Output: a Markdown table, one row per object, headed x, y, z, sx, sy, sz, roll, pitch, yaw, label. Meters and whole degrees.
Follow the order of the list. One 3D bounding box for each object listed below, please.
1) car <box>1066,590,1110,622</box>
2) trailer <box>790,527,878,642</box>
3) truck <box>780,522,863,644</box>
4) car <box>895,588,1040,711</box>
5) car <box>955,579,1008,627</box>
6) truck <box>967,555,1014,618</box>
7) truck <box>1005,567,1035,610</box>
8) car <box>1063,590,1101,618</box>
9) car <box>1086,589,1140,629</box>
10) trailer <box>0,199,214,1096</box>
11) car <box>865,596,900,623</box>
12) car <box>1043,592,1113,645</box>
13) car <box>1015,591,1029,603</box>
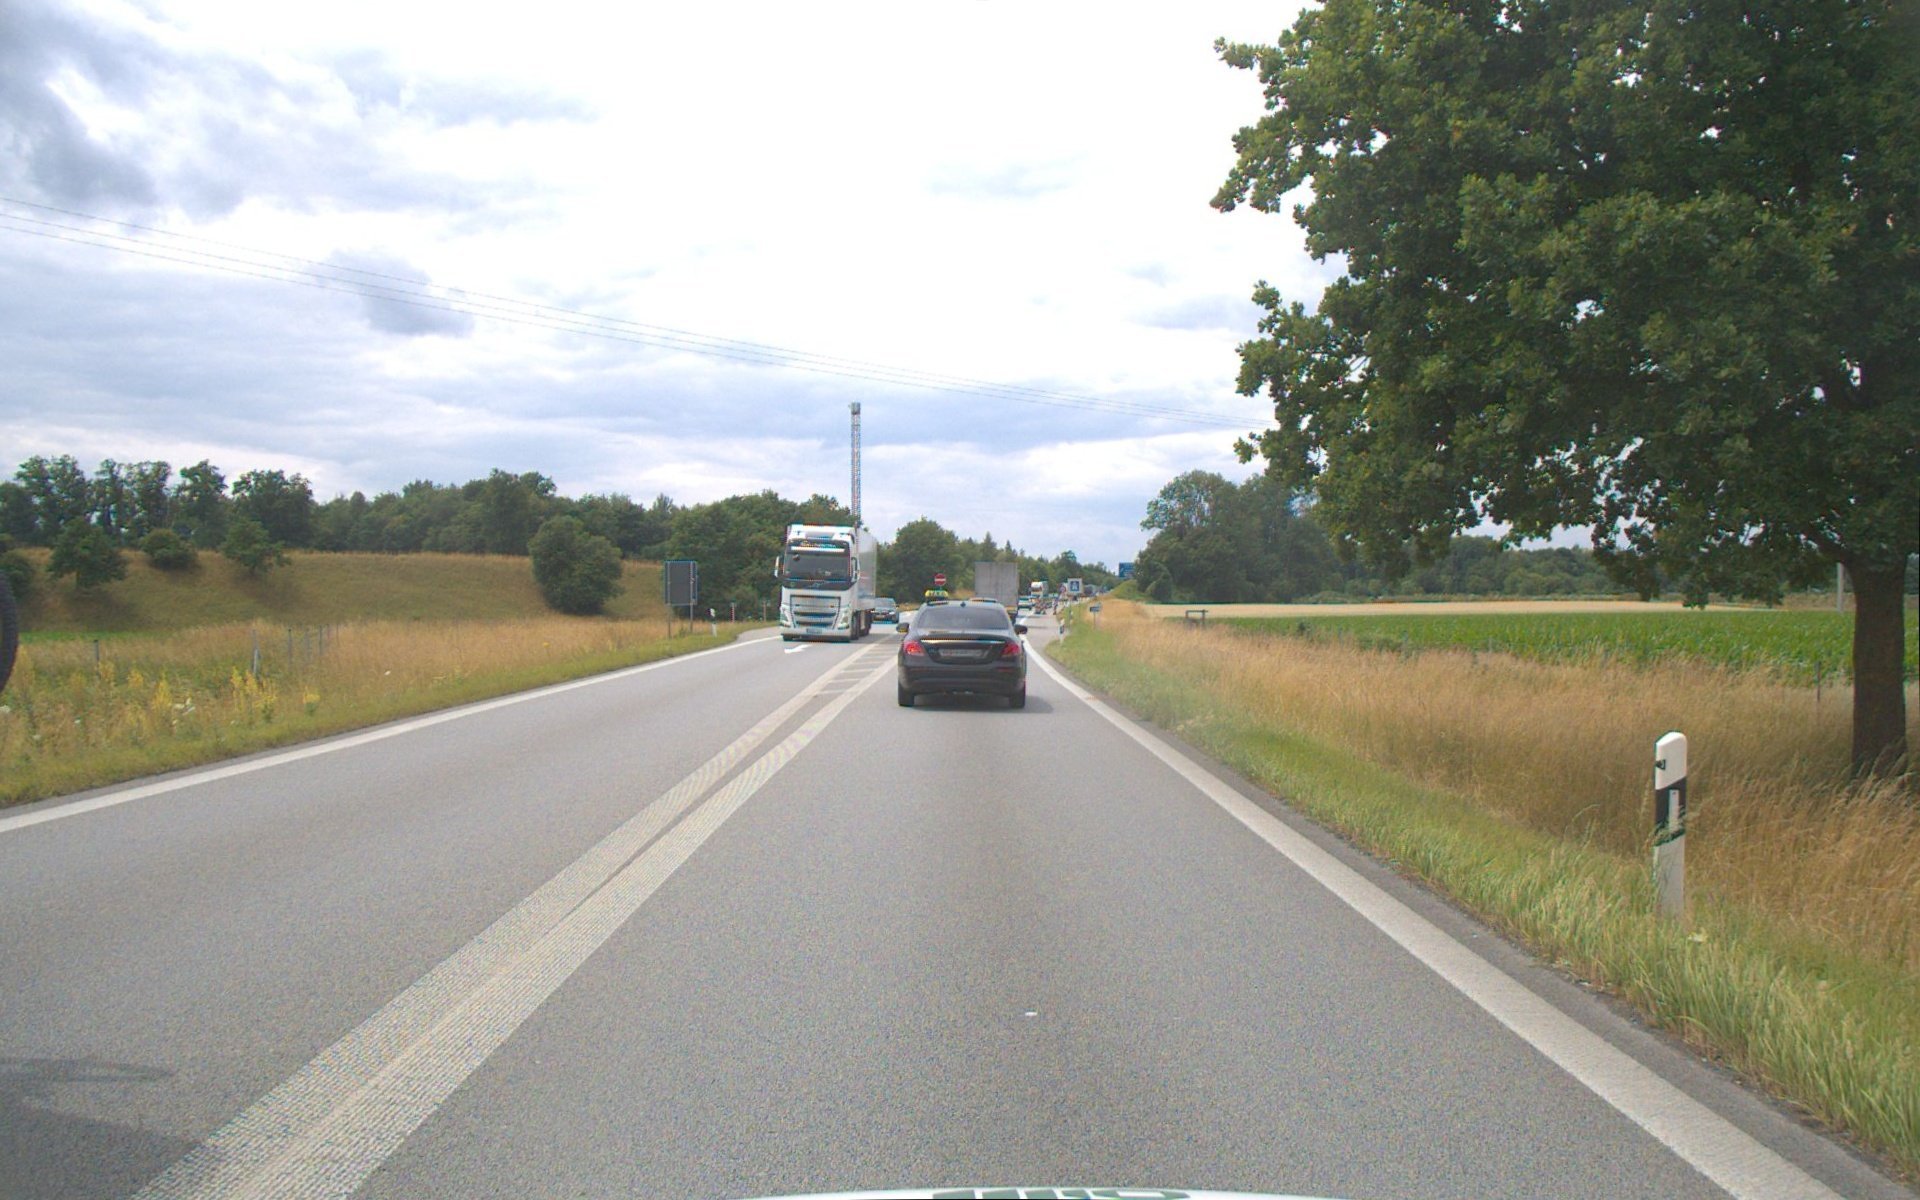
| x | y | z | sx | sy | sz | roll | pitch | yaw | label |
| --- | --- | --- | --- | --- | --- | --- | --- | --- | --- |
| 7.001 | 0.337 | 90.670 | 1.760 | 1.691 | 3.996 | 2 | 0 | -4 | car |
| -4.788 | -0.609 | 65.147 | 2.438 | 4.065 | 13.076 | 1 | 0 | 0 | trailer |
| -4.790 | -0.585 | 58.119 | 2.438 | 4.065 | 5.204 | 1 | 0 | 0 | truck |
| 0.023 | 0.666 | 24.043 | 1.760 | 1.587 | 3.996 | 2 | 0 | -4 | car |
| 0.934 | 0.135 | 73.742 | 1.954 | 2.049 | 3.996 | 2 | 0 | -4 | car |
| 1.862 | -0.773 | 98.539 | 2.533 | 3.586 | 4.814 | 2 | 0 | 3 | truck |
| 5.164 | -0.956 | 142.821 | 1.954 | 3.587 | 4.588 | 2 | 0 | -4 | truck |
| 7.587 | 0.245 | 103.334 | 1.760 | 1.691 | 3.996 | 2 | 0 | -4 | car |
| 6.930 | 0.399 | 75.114 | 1.760 | 1.691 | 3.996 | 2 | 0 | -4 | car |
| -3.832 | 0.116 | 3.025 | 2.138 | 2.620 | 6.242 | 2 | 0 | -1 | trailer |
| -4.655 | 0.585 | 100.281 | 1.819 | 1.505 | 5.198 | 2 | 0 | 0 | car |
| 3.978 | 0.612 | 56.348 | 1.760 | 1.691 | 3.996 | 2 | 0 | -4 | car |
| 7.932 | -0.336 | 210.977 | 1.615 | 1.420 | 3.706 | 2 | 0 | 0 | car |
